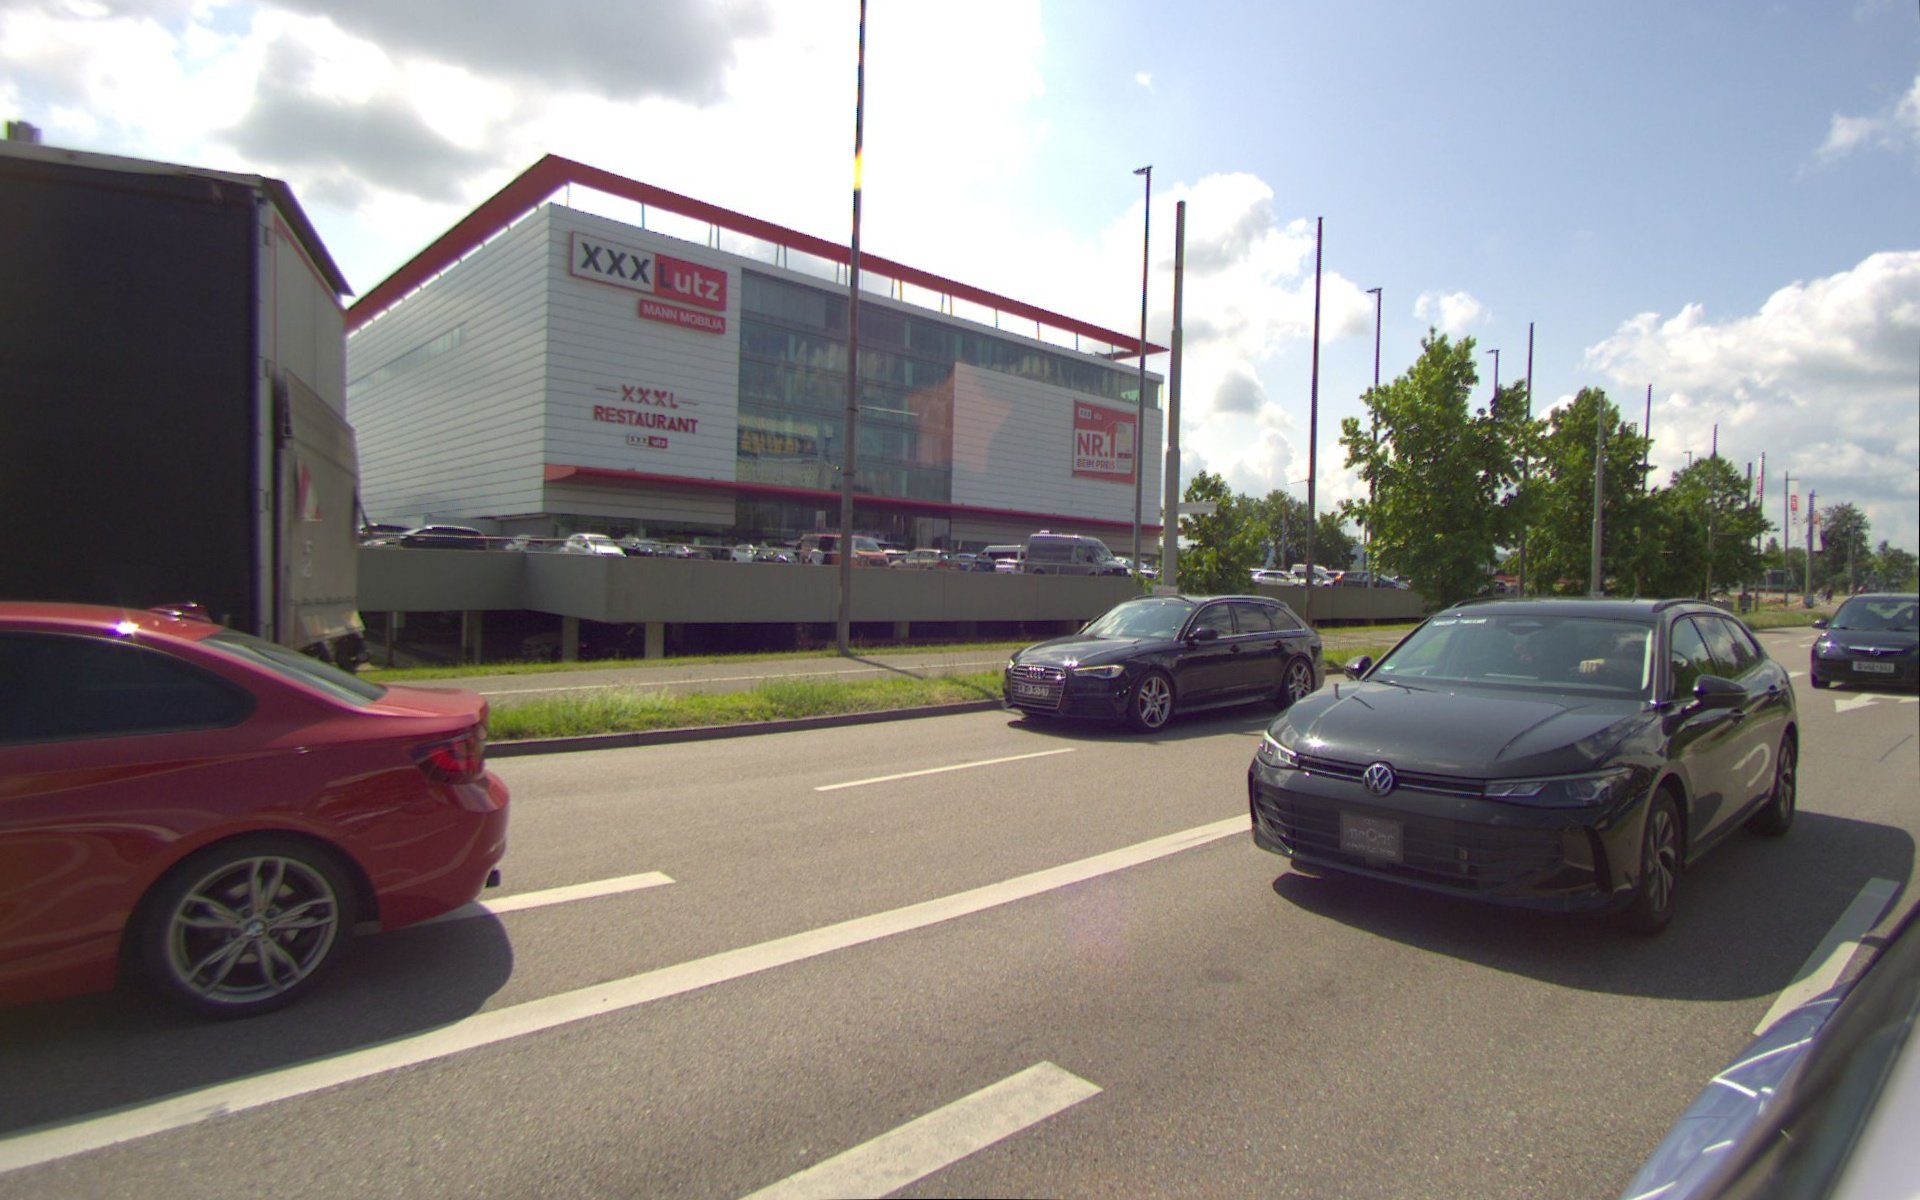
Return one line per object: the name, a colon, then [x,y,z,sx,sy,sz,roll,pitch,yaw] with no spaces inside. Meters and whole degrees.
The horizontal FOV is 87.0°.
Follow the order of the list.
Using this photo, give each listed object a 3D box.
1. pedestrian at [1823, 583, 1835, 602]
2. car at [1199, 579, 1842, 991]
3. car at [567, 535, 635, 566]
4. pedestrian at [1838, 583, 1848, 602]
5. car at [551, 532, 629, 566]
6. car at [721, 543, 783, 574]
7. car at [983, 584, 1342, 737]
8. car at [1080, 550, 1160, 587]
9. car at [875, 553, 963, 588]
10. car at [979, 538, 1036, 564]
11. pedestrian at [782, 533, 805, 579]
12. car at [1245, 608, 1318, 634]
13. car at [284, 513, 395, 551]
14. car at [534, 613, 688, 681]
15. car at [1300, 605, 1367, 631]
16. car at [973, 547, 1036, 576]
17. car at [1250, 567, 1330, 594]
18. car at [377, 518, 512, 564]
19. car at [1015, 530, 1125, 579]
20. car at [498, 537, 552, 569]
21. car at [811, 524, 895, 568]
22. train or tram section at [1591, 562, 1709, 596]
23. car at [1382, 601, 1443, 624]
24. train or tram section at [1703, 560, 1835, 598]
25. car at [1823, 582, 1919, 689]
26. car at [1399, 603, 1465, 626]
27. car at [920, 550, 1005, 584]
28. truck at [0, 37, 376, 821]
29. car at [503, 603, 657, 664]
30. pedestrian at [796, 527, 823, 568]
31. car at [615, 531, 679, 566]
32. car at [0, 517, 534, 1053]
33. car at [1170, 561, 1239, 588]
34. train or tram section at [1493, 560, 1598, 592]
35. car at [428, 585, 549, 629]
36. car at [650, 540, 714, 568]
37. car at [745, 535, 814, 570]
pedestrian: [84.414,-0.761,98.325,0.695,1.836,0.542,0,0,18]
car: [3.684,0.633,6.063,5.115,1.496,1.811,-1,1,-42]
car: [-20.042,-2.732,56.391,1.923,1.625,4.412,-1,1,-44]
pedestrian: [85.142,-0.692,97.614,0.521,1.836,0.671,0,0,26]
car: [-17.817,-2.409,48.647,1.923,1.489,4.412,-1,1,-44]
car: [-12.528,-2.464,60.771,1.884,1.772,3.992,-1,1,-42]
car: [2.573,0.560,12.122,4.597,1.496,1.777,-1,1,-41]
car: [8.391,-1.633,53.257,1.719,1.816,3.994,-1,1,-40]
car: [-2.035,-1.425,49.193,1.921,1.625,4.415,0,1,-42]
car: [3.459,-3.543,73.530,1.884,1.772,3.992,-1,1,-42]
pedestrian: [-7.513,-1.967,45.710,0.895,2.039,0.706,-1,0,4]
car: [22.070,1.430,69.560,1.922,1.625,4.413,0,1,-43]
car: [-30.613,-3.330,49.982,1.949,1.625,4.352,1,1,45]
car: [-10.408,1.345,30.319,1.994,1.772,3.935,1,1,45]
car: [27.385,1.302,74.261,1.534,1.786,4.411,-1,1,-44]
car: [2.864,-2.480,66.328,1.884,1.772,3.992,-1,1,-42]
car: [20.797,-1.250,63.912,1.921,1.625,4.415,0,1,-42]
car: [-20.201,-2.263,39.796,1.948,1.625,4.356,1,1,42]
car: [5.487,-2.239,51.081,1.721,2.312,5.783,-1,1,-44]
car: [-26.312,-2.794,61.155,1.534,1.846,4.412,0,1,-44]
car: [-4.839,-2.375,45.411,1.881,1.772,4.187,-1,1,-36]
train or tram section: [96.376,-3.040,141.608,3.670,4.424,13.081,-1,3,-43]
car: [37.583,1.029,84.157,1.534,1.786,4.411,-1,1,-44]
train or tram section: [105.306,-2.691,132.030,3.670,4.731,13.076,-1,1,-43]
car: [15.485,0.527,16.518,4.196,1.549,1.605,0,1,-42]
car: [37.410,1.128,80.279,1.921,1.625,4.415,0,1,-42]
car: [0.076,-1.640,51.160,1.920,1.625,4.417,0,1,-40]
truck: [-8.466,-0.857,5.456,8.883,4.077,3.228,-1,1,-24]
car: [-12.304,1.010,32.948,1.994,1.772,4.293,1,1,45]
pedestrian: [-6.722,-2.329,45.235,1.014,1.764,0.698,0,0,36]
car: [-17.147,-2.776,55.327,1.884,1.772,3.992,-1,1,-42]
car: [-3.953,0.583,3.562,4.147,1.676,1.861,-2,1,-42]
car: [16.505,-1.703,68.561,1.534,1.786,4.411,-1,1,-44]
train or tram section: [87.338,-3.493,151.269,3.670,4.618,13.076,-1,1,-43]
car: [-20.096,0.235,43.200,1.994,1.772,4.293,1,1,45]
car: [-15.710,-2.566,57.058,1.534,1.489,4.412,0,1,-44]
car: [-9.797,-2.545,54.742,1.884,1.772,3.992,-1,1,-42]
